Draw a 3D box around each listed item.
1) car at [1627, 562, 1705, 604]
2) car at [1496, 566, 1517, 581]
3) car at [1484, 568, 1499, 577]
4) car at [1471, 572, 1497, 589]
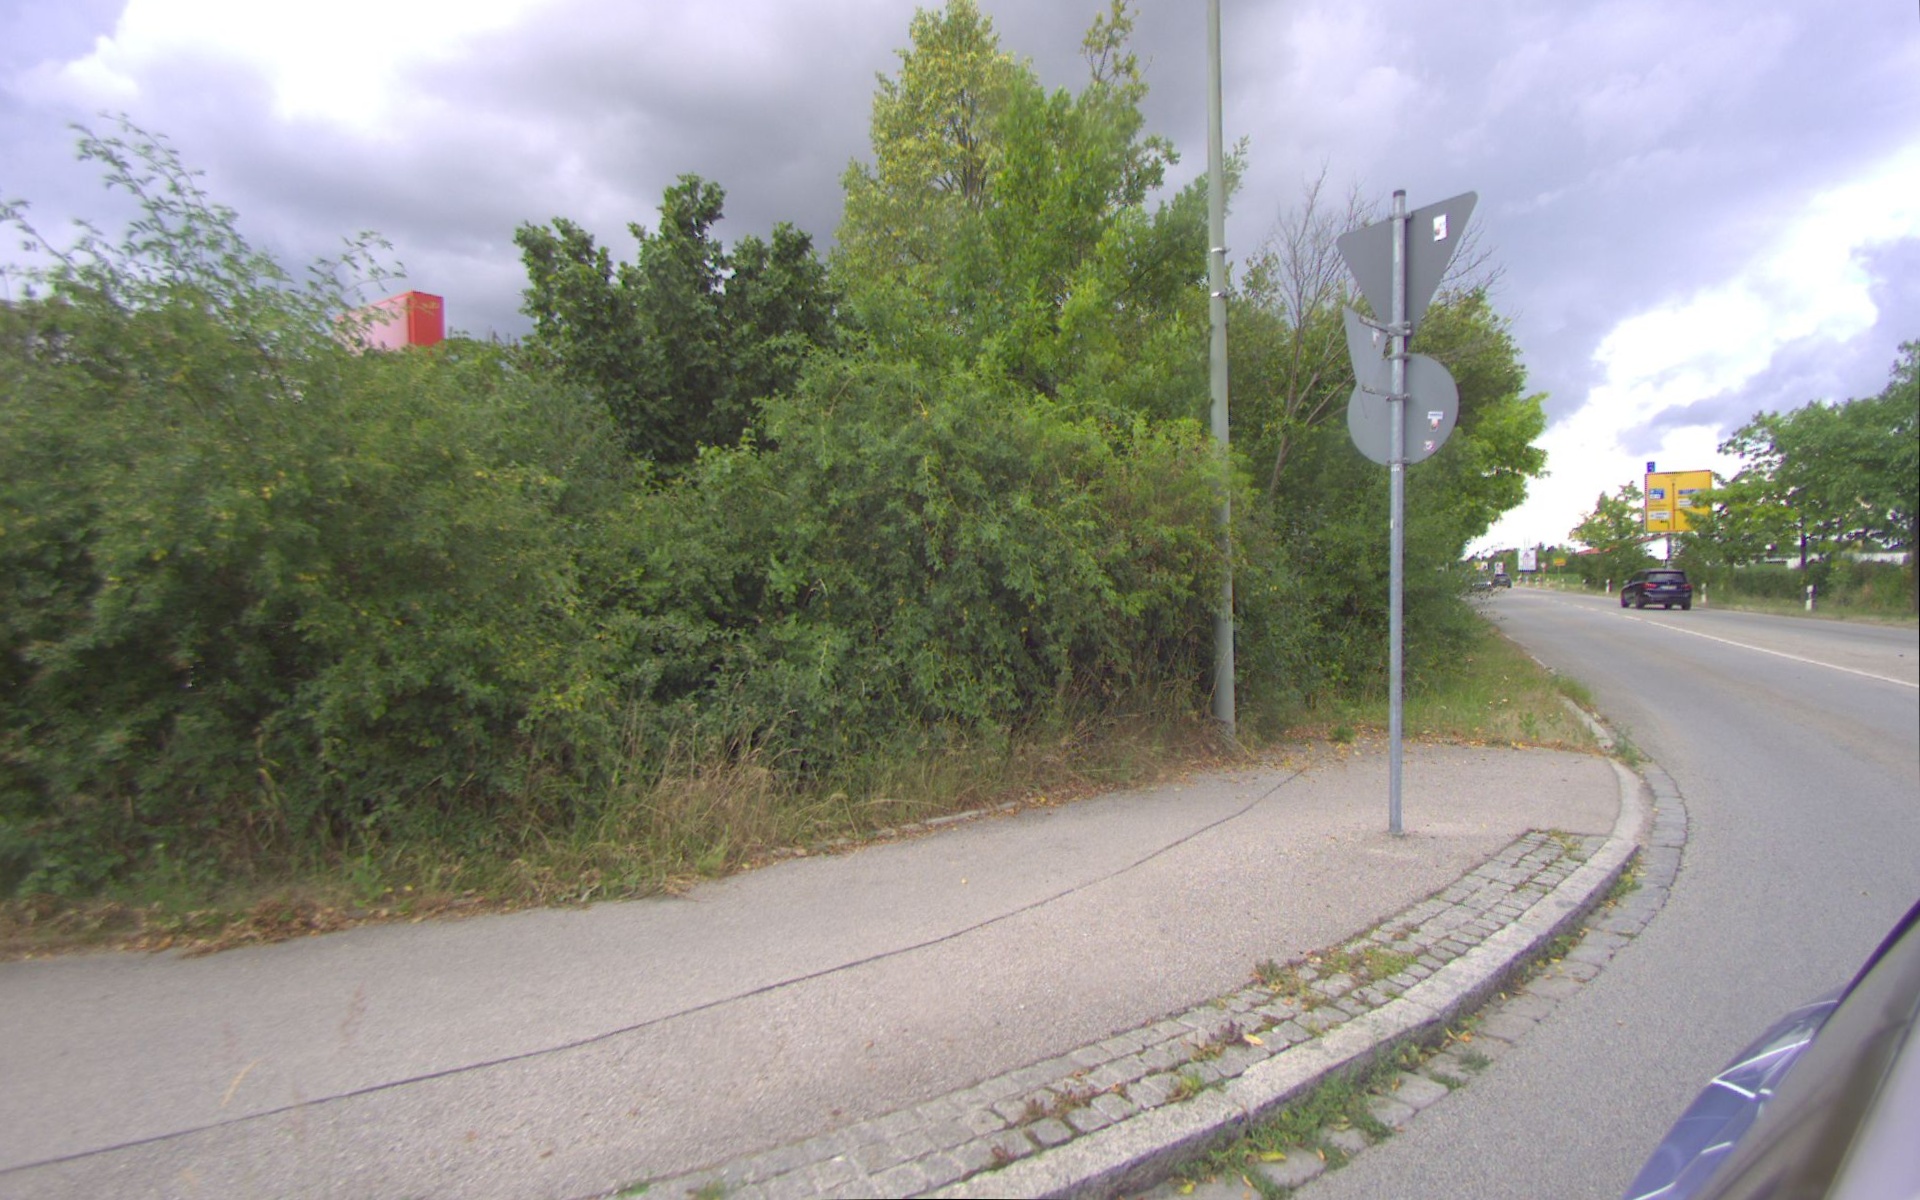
[{"bbox_3d":[28.480,-0.727,40.945,1.725,1.605,4.322,1,2,24],"label":"car"},{"bbox_3d":[58.750,-2.821,108.866,1.721,1.553,4.060,1,2,25],"label":"car"},{"bbox_3d":[84.034,-4.372,160.082,1.802,1.512,4.169,1,2,25],"label":"car"},{"bbox_3d":[45.792,-1.701,88.427,1.851,1.377,3.794,0,2,25],"label":"car"}]
